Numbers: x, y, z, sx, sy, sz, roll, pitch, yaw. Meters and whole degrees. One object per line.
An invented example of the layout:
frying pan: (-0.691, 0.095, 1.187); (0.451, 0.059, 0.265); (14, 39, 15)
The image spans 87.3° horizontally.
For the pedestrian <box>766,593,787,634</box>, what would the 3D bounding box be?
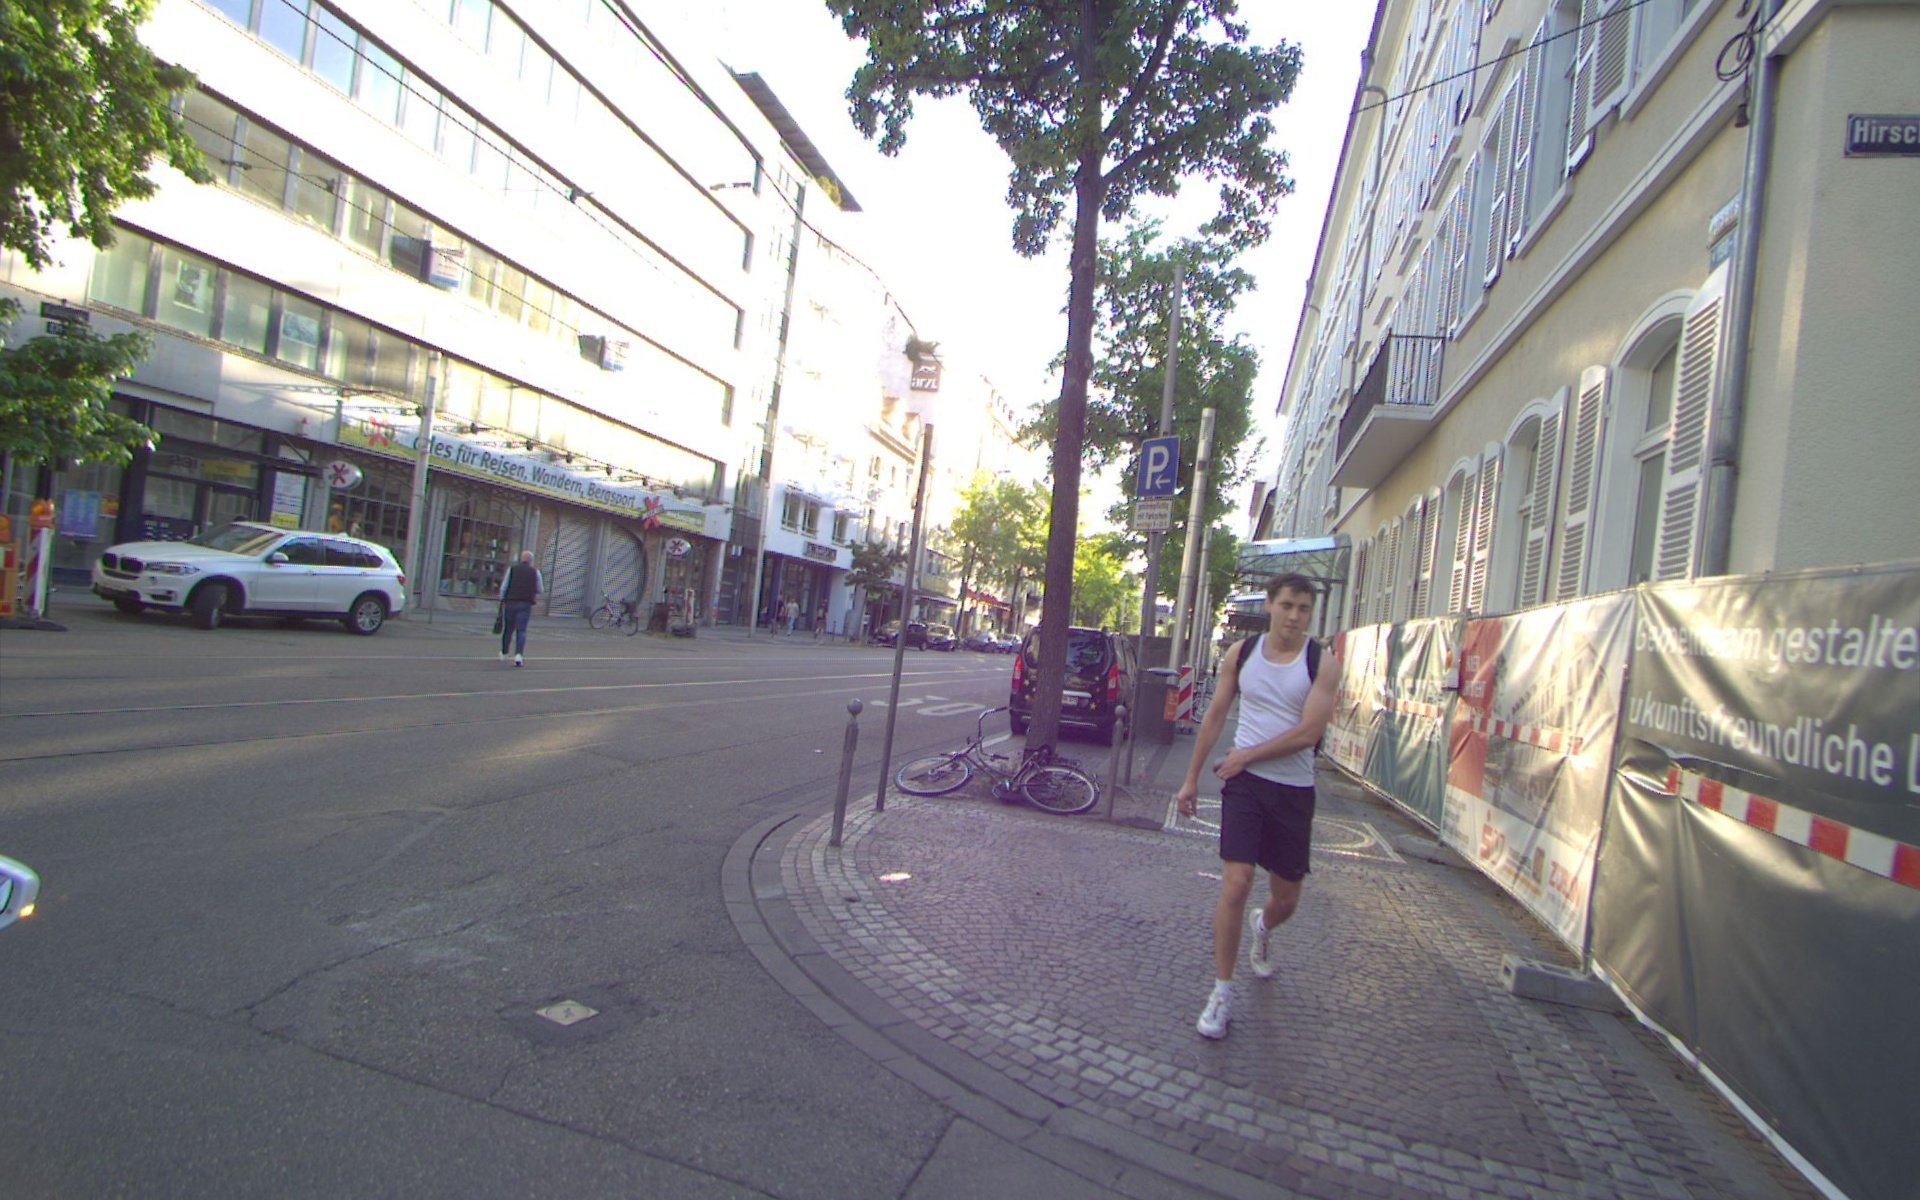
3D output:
pedestrian: (-8.280, 0.609, 45.411); (0.617, 1.799, 0.815); (7, 1, -3)

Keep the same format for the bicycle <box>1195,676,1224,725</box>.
bicycle: (5.788, 2.298, 23.285); (0.529, 0.964, 2.027); (5, -1, 16)

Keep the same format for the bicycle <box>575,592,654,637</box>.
bicycle: (-9.948, 0.418, 28.984); (1.989, 0.964, 0.670); (10, 1, 13)

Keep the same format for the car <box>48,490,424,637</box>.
car: (-12.059, -0.466, 17.302); (1.984, 1.796, 4.951); (9, -1, 15)

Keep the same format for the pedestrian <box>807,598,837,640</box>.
pedestrian: (-6.284, 0.859, 45.840); (0.791, 1.799, 0.971); (7, 1, 27)

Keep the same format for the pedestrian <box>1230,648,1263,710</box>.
pedestrian: (8.669, 2.380, 30.510); (0.790, 1.799, 0.973); (3, 0, 12)

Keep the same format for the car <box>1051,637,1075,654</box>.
car: (10.889, 4.786, 105.960); (1.797, 1.482, 3.731); (7, -1, 16)

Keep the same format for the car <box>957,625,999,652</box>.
car: (1.272, 2.711, 69.864); (1.798, 1.482, 3.731); (9, -1, 16)

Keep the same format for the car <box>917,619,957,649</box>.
car: (-1.369, 2.061, 60.686); (1.798, 1.482, 3.731); (9, -1, 5)

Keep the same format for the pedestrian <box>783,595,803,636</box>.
pedestrian: (-7.542, 0.703, 45.451); (0.617, 1.799, 0.815); (7, 1, -3)

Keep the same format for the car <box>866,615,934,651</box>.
car: (-3.134, 1.764, 52.988); (1.699, 1.402, 3.658); (9, -1, 29)

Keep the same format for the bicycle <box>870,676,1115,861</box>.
bicycle: (0.281, 1.415, 8.892); (1.676, 0.444, 1.377); (7, 43, 40)

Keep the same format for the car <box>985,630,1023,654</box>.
car: (3.349, 3.175, 76.043); (1.798, 1.482, 3.731); (9, -1, 16)

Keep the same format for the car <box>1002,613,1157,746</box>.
car: (2.119, 1.304, 16.857); (1.726, 1.815, 3.655); (5, -2, 19)

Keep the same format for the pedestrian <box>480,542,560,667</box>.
pedestrian: (-6.855, 0.058, 15.643); (0.798, 1.799, 1.062); (6, 1, -35)

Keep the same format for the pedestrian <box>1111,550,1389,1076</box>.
pedestrian: (1.266, 0.782, 4.251); (0.791, 1.843, 1.071); (6, 1, 26)

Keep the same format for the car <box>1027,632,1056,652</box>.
car: (7.552, 3.894, 92.765); (1.798, 1.482, 3.731); (9, -1, 16)
